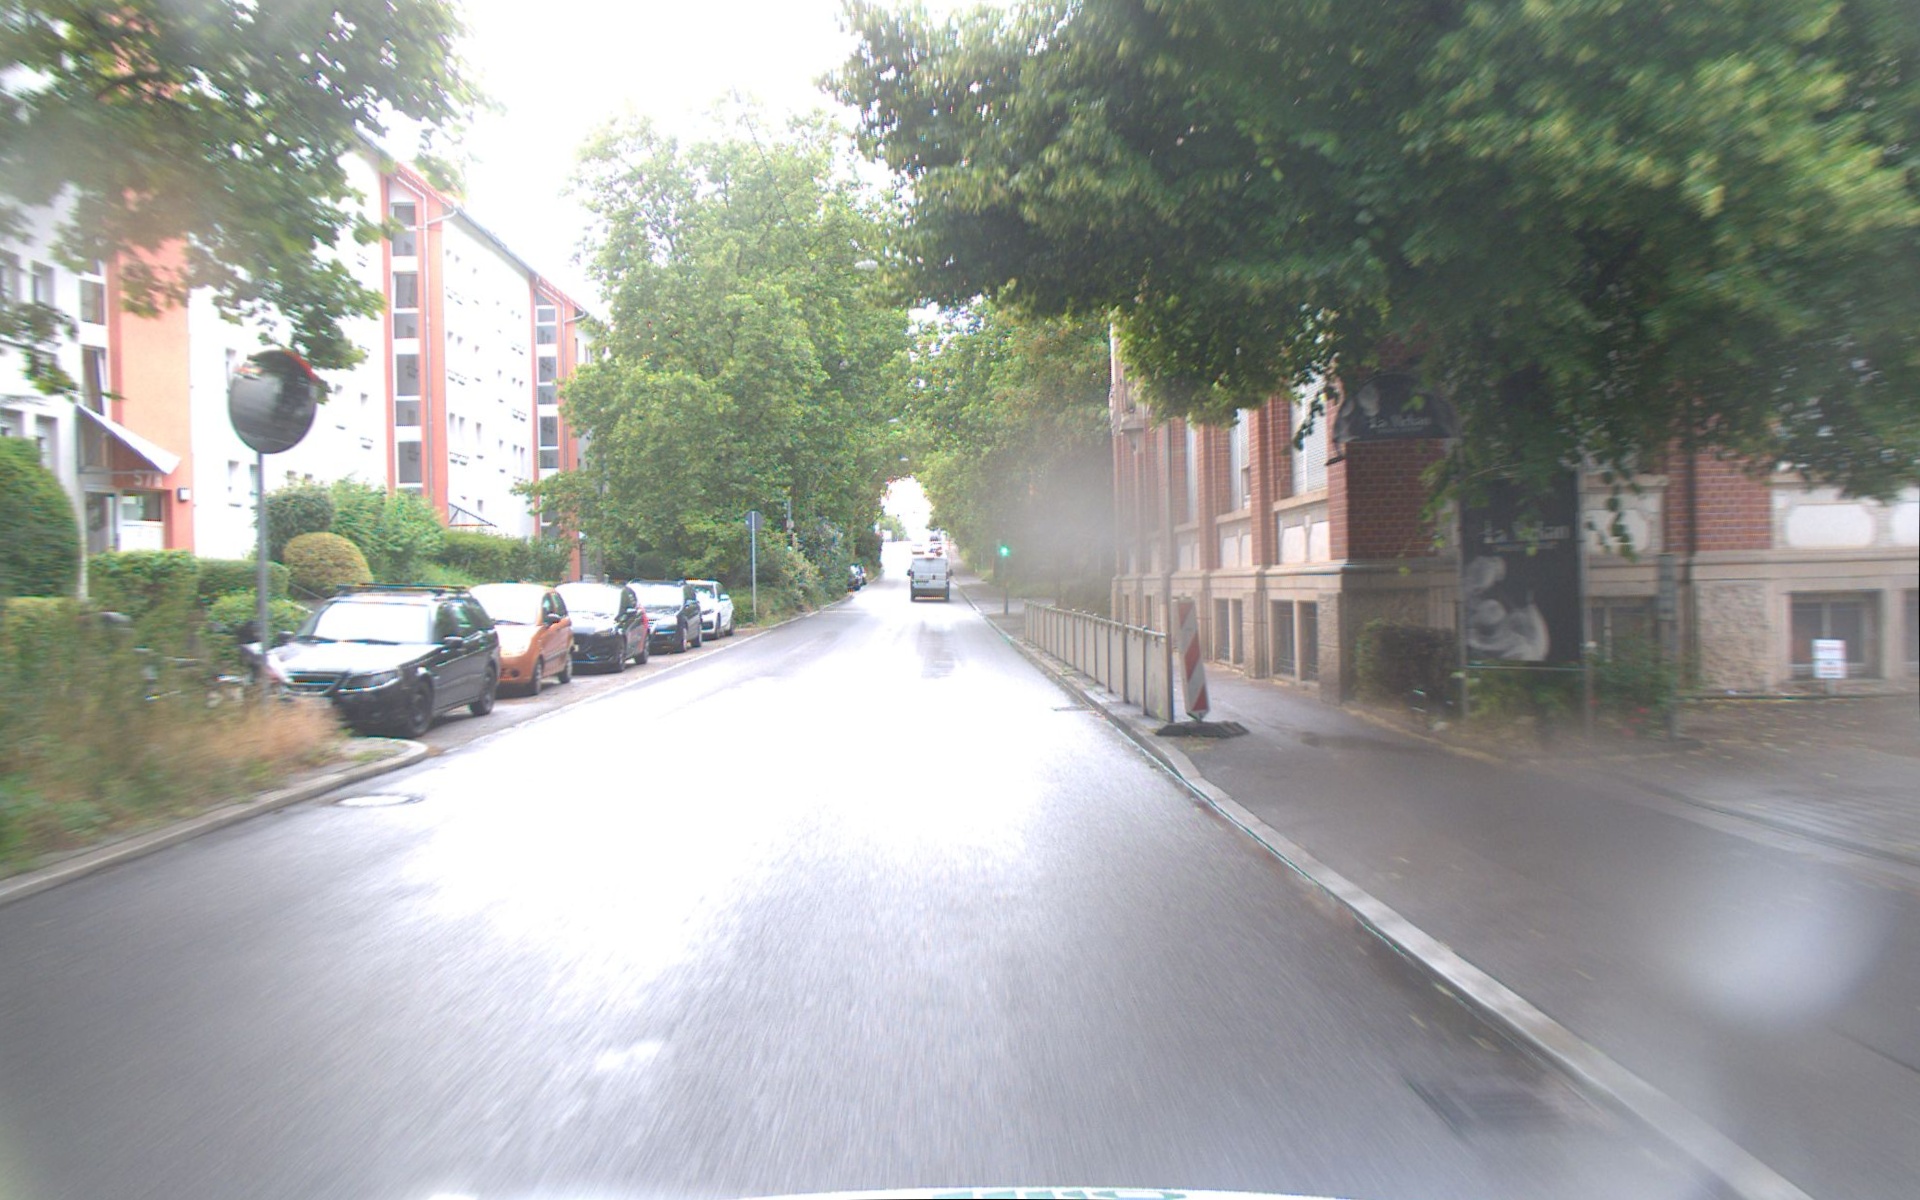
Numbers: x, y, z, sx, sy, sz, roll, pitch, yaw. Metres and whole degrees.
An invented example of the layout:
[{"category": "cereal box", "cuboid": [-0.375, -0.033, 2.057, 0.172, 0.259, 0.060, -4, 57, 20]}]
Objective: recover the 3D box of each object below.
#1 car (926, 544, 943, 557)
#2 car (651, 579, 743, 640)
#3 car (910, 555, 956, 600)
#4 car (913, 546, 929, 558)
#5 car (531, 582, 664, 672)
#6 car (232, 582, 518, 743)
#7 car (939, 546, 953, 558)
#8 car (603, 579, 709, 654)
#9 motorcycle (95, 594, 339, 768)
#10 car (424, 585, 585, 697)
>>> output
[{"category": "car", "cuboid": [-3.761, -7.298, 243.966, 2.103, 1.739, 3.874, 1, 0, 3]}, {"category": "car", "cuboid": [-6.705, 0.205, 42.518, 1.682, 1.493, 4.309, 0, 1, 0]}, {"category": "car", "cuboid": [-1.406, -1.135, 85.849, 2.288, 2.270, 3.999, 1, 0, -1]}, {"category": "car", "cuboid": [-5.877, -7.325, 252.042, 2.114, 1.739, 3.874, 1, 0, 3]}, {"category": "car", "cuboid": [-6.395, 0.431, 29.549, 1.682, 1.493, 3.754, 0, 1, -3]}, {"category": "car", "cuboid": [-6.312, 0.578, 18.440, 1.682, 1.535, 4.802, 0, 1, -3]}, {"category": "car", "cuboid": [-2.150, -7.264, 252.160, 1.890, 1.739, 3.874, 1, 0, 3]}, {"category": "car", "cuboid": [-6.465, 0.308, 35.563, 1.682, 1.493, 4.231, 0, 1, -3]}, {"category": "motorcycle", "cuboid": [-6.237, 0.663, 13.948, 1.678, 1.363, 0.722, -2, 0, -1]}, {"category": "car", "cuboid": [-6.544, 0.538, 24.077, 1.524, 1.493, 3.395, 0, 1, -3]}]
